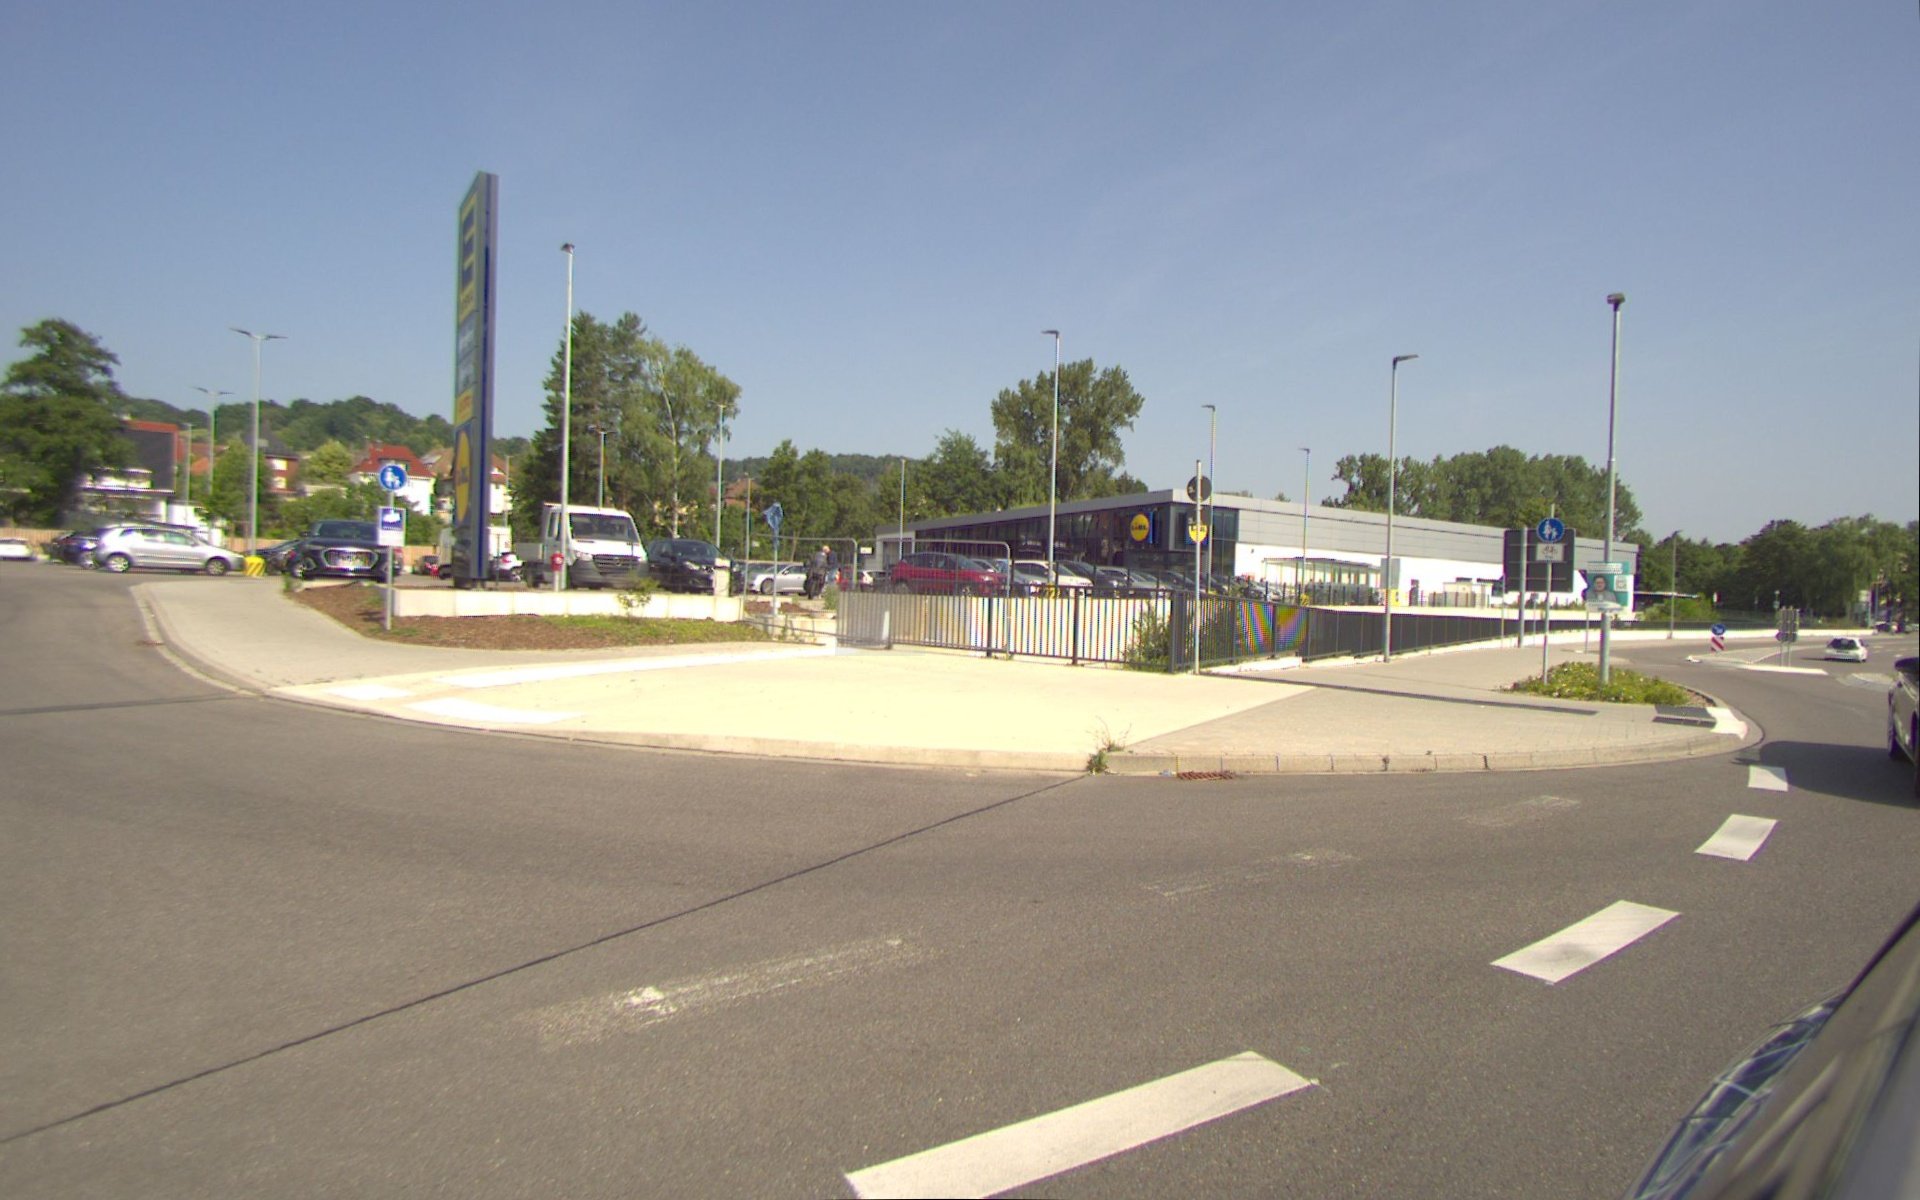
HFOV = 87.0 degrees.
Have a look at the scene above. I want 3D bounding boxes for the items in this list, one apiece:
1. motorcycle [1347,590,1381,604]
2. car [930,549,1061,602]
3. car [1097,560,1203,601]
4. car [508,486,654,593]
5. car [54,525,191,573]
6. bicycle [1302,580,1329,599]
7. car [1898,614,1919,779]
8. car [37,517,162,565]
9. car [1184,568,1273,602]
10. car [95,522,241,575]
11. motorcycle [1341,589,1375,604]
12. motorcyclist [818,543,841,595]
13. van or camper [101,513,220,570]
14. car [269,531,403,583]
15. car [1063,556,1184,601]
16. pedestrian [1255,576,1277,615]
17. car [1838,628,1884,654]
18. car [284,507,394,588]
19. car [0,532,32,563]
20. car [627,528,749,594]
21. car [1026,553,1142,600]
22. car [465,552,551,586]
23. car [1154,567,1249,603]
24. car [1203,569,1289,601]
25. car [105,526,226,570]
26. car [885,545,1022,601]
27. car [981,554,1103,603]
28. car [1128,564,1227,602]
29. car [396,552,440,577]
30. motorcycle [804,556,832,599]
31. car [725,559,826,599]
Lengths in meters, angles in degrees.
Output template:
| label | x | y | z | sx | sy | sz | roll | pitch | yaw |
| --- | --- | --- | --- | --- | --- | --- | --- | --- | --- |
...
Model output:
| label | x | y | z | sx | sy | sz | roll | pitch | yaw |
| --- | --- | --- | --- | --- | --- | --- | --- | --- | --- |
| motorcycle | 24.926 | -0.177 | 62.474 | 1.852 | 0.875 | 0.623 | 0 | -1 | 16 |
| car | 1.138 | -0.741 | 33.047 | 3.997 | 1.594 | 1.756 | 0 | -1 | 36 |
| car | 7.814 | -0.756 | 41.729 | 3.970 | 1.594 | 1.684 | 0 | -1 | 33 |
| car | -10.311 | -1.464 | 27.188 | 2.022 | 2.414 | 6.088 | 1 | -1 | -37 |
| car | -27.838 | -1.652 | 33.694 | 1.520 | 1.391 | 3.314 | 1 | 0 | 42 |
| bicycle | 20.711 | -0.603 | 58.996 | 1.845 | 1.108 | 0.626 | 1 | -2 | -40 |
| car | 8.924 | 0.803 | 8.220 | 1.715 | 1.339 | 4.162 | 1 | 0 | 40 |
| car | -42.346 | -2.851 | 49.918 | 4.565 | 2.001 | 1.997 | 1 | -1 | -41 |
| car | 13.364 | -0.736 | 50.385 | 3.970 | 1.594 | 1.684 | 0 | -1 | 33 |
| car | -25.076 | -1.583 | 32.152 | 3.566 | 1.464 | 1.524 | 1 | -1 | -39 |
| motorcycle | 24.212 | -0.194 | 61.647 | 1.852 | 0.875 | 0.623 | 0 | -1 | 16 |
| motorcyclist | -3.952 | -0.933 | 30.633 | 0.507 | 1.563 | 0.580 | 0 | -1 | 12 |
| van or camper | -45.583 | -3.251 | 57.763 | 5.193 | 2.884 | 2.291 | 1 | -2 | -41 |
| car | -21.597 | -1.446 | 35.076 | 3.719 | 1.594 | 1.761 | 1 | -1 | -40 |
| car | 6.350 | -0.797 | 39.479 | 4.383 | 1.594 | 1.684 | 0 | -1 | 33 |
| pedestrian | 16.369 | -0.235 | 54.169 | 0.848 | 2.039 | 0.831 | 1 | -2 | -42 |
| car | 51.359 | 2.306 | 57.747 | 1.773 | 1.416 | 3.943 | -1 | -1 | 39 |
| car | -14.541 | -1.114 | 23.578 | 1.886 | 1.550 | 4.860 | 1 | -1 | -35 |
| car | -58.309 | -3.221 | 62.093 | 1.704 | 1.683 | 3.996 | 1 | -1 | -38 |
| car | -7.707 | -1.016 | 28.431 | 1.799 | 1.623 | 4.474 | 1 | -1 | -37 |
| car | 4.604 | -0.834 | 37.666 | 3.970 | 1.594 | 1.684 | 0 | -1 | 33 |
| car | -23.535 | -1.581 | 52.728 | 3.719 | 1.594 | 1.761 | 1 | -1 | -40 |
| car | 11.251 | -0.654 | 47.222 | 3.970 | 1.594 | 1.684 | 0 | -1 | 33 |
| car | 15.041 | -0.745 | 53.316 | 4.101 | 1.594 | 1.684 | 0 | -1 | 33 |
| car | -30.416 | -1.958 | 38.825 | 3.566 | 1.464 | 1.524 | 1 | -1 | -39 |
| car | -0.235 | -0.776 | 31.211 | 3.997 | 1.594 | 1.756 | 0 | -1 | 36 |
| car | 2.852 | -0.696 | 35.463 | 3.970 | 1.594 | 1.684 | 0 | -1 | 33 |
| car | 9.528 | -0.705 | 44.447 | 3.970 | 1.594 | 1.684 | 0 | -1 | 33 |
| car | -39.799 | -2.584 | 74.293 | 3.774 | 1.594 | 1.735 | -1 | -1 | 44 |
| motorcycle | -4.204 | -0.634 | 29.889 | 0.578 | 1.206 | 1.907 | 2 | -1 | -14 |
| car | -8.131 | -0.888 | 44.805 | 3.933 | 1.639 | 1.995 | 1 | -1 | -43 |
